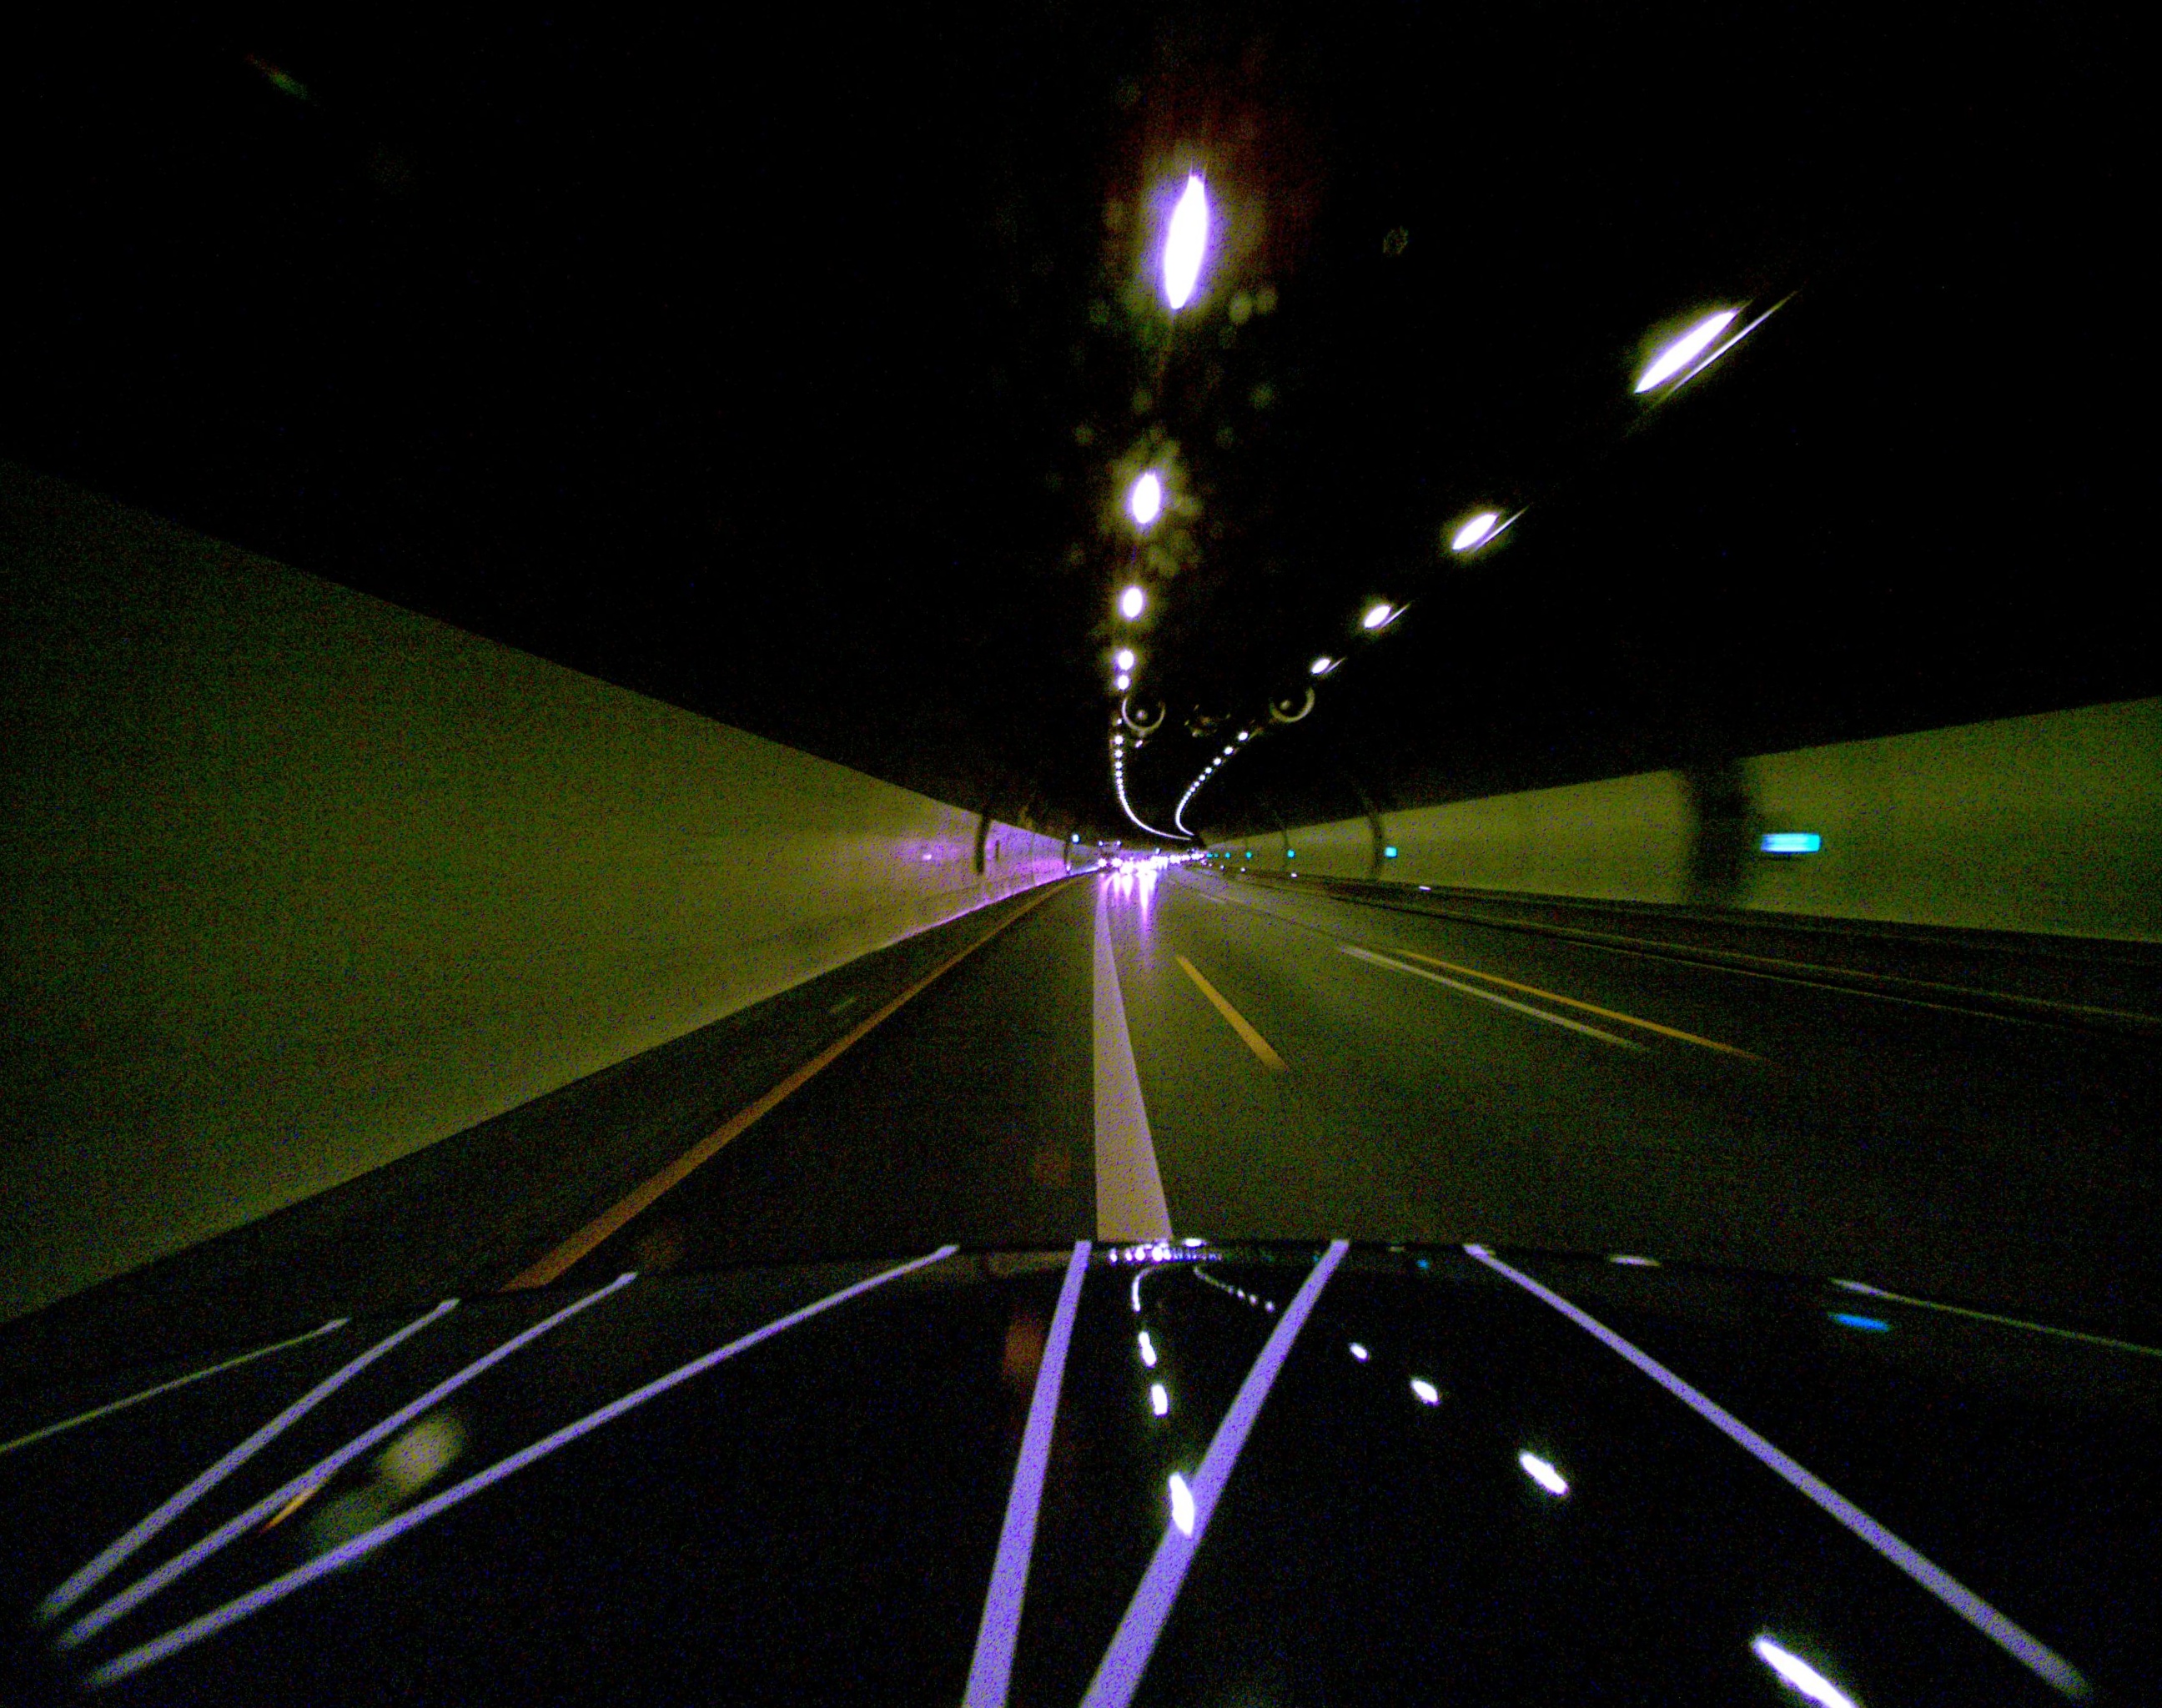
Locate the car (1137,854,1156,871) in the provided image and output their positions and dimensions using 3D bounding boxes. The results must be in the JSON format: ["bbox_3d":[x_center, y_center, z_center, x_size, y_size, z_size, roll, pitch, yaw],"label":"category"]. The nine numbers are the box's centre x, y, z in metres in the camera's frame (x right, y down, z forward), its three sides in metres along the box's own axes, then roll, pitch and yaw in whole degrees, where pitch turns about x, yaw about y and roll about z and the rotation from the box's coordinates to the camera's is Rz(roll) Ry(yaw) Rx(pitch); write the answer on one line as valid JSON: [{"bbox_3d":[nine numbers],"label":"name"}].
[{"bbox_3d":[7.171,0.892,83.314,1.998,1.655,4.001,-2,0,5],"label":"car"}]

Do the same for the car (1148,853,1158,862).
[{"bbox_3d":[17.022,0.826,179.682,1.997,1.917,4.388,-1,0,9],"label":"car"}]

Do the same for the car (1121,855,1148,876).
[{"bbox_3d":[4.578,0.930,64.540,2.171,1.709,4.483,-1,0,4],"label":"car"}]

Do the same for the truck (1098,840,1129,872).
[{"bbox_3d":[3.475,0.196,82.180,2.988,3.161,10.510,-1,0,2],"label":"truck"}]
